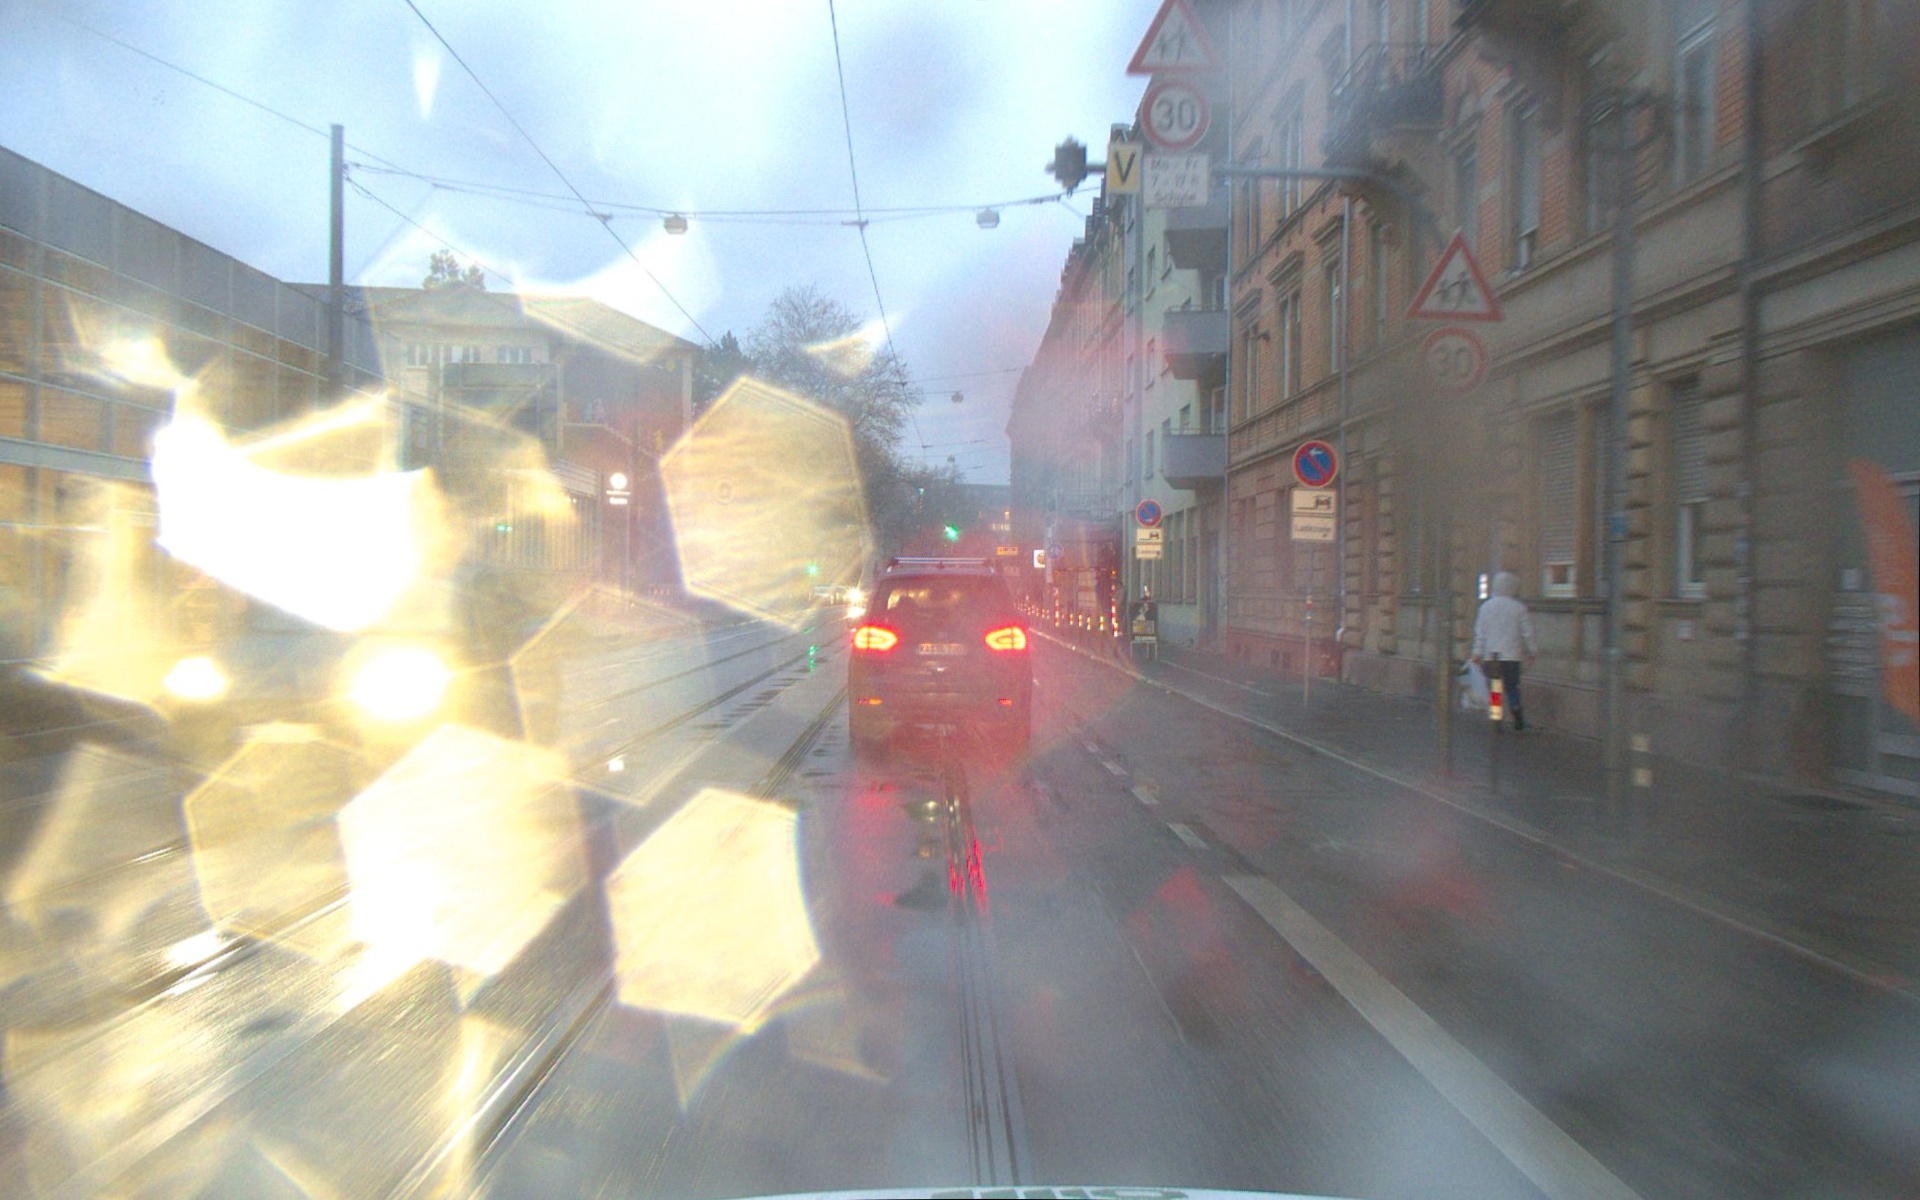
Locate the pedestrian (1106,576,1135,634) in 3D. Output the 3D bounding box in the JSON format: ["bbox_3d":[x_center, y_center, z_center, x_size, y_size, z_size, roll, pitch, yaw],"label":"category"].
[{"bbox_3d":[5.185,0.153,53.412,0.592,1.850,0.769,1,0,-28],"label":"pedestrian"}]

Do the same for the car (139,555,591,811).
[{"bbox_3d":[-4.235,0.507,12.618,1.803,1.606,4.442,0,0,1],"label":"car"}]

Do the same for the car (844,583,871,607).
[{"bbox_3d":[-7.598,-0.358,123.392,1.837,1.739,4.759,-1,0,-2],"label":"car"}]

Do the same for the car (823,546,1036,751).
[{"bbox_3d":[-0.222,0.439,17.284,1.952,1.874,4.001,1,0,2],"label":"car"}]

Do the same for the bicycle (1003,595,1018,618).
[{"bbox_3d":[2.667,0.325,86.742,0.670,1.176,2.188,1,0,-1],"label":"bicycle"}]

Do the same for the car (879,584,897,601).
[{"bbox_3d":[-6.592,-0.703,151.442,1.499,1.507,3.561,0,0,-1],"label":"car"}]

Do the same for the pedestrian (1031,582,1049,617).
[{"bbox_3d":[3.940,-0.019,81.342,0.817,1.731,0.954,1,0,7],"label":"pedestrian"}]

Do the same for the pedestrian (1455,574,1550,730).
[{"bbox_3d":[5.763,0.539,17.593,0.770,1.625,0.742,0,0,0],"label":"pedestrian"}]
